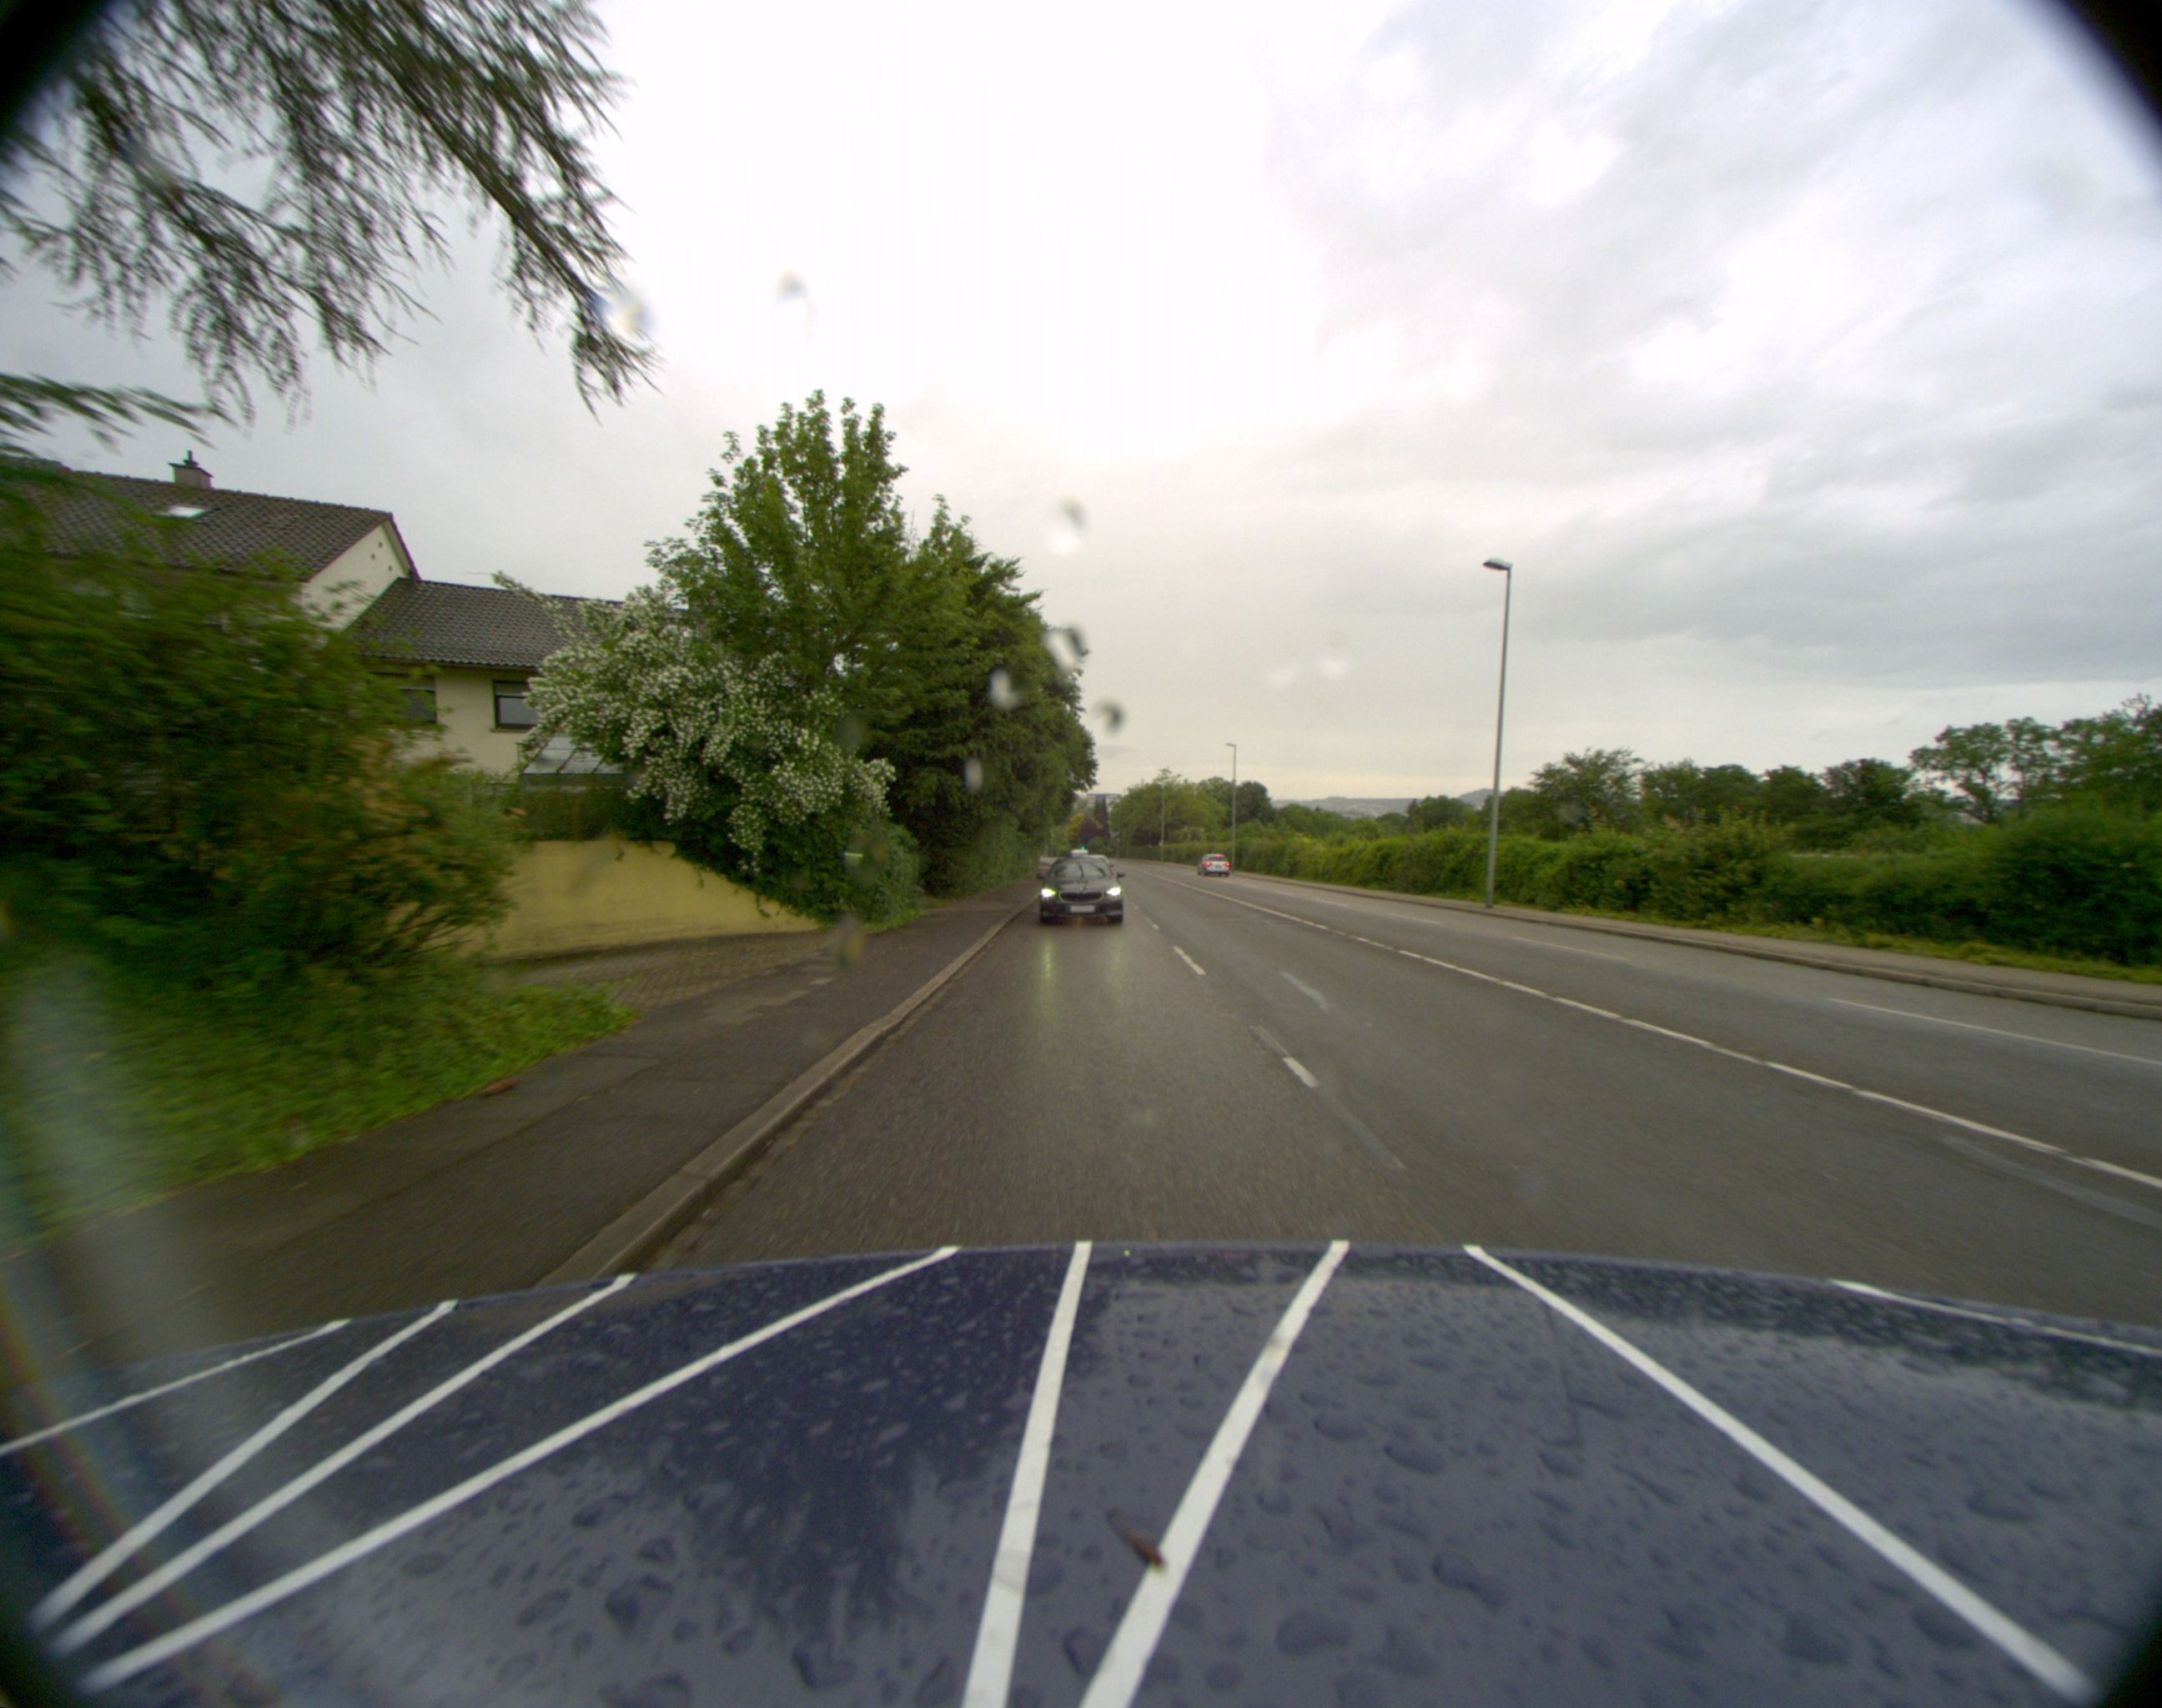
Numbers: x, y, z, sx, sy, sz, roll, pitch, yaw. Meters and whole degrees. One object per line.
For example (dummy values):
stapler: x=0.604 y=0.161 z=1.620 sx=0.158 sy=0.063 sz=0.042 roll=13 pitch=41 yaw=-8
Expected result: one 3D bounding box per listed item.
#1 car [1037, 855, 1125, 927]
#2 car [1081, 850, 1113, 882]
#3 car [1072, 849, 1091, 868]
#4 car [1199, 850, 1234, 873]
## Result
car: x=-0.106 y=0.801 z=18.477 sx=1.846 sy=1.371 sz=4.280 roll=-2 pitch=2 yaw=-3
car: x=0.859 y=0.576 z=39.497 sx=1.550 sy=1.505 sz=4.283 roll=1 pitch=1 yaw=1
car: x=0.011 y=0.412 z=71.598 sx=1.703 sy=1.670 sz=4.282 roll=0 pitch=1 yaw=0
car: x=9.827 y=0.542 z=55.377 sx=1.761 sy=1.559 sz=3.999 roll=2 pitch=1 yaw=-1
